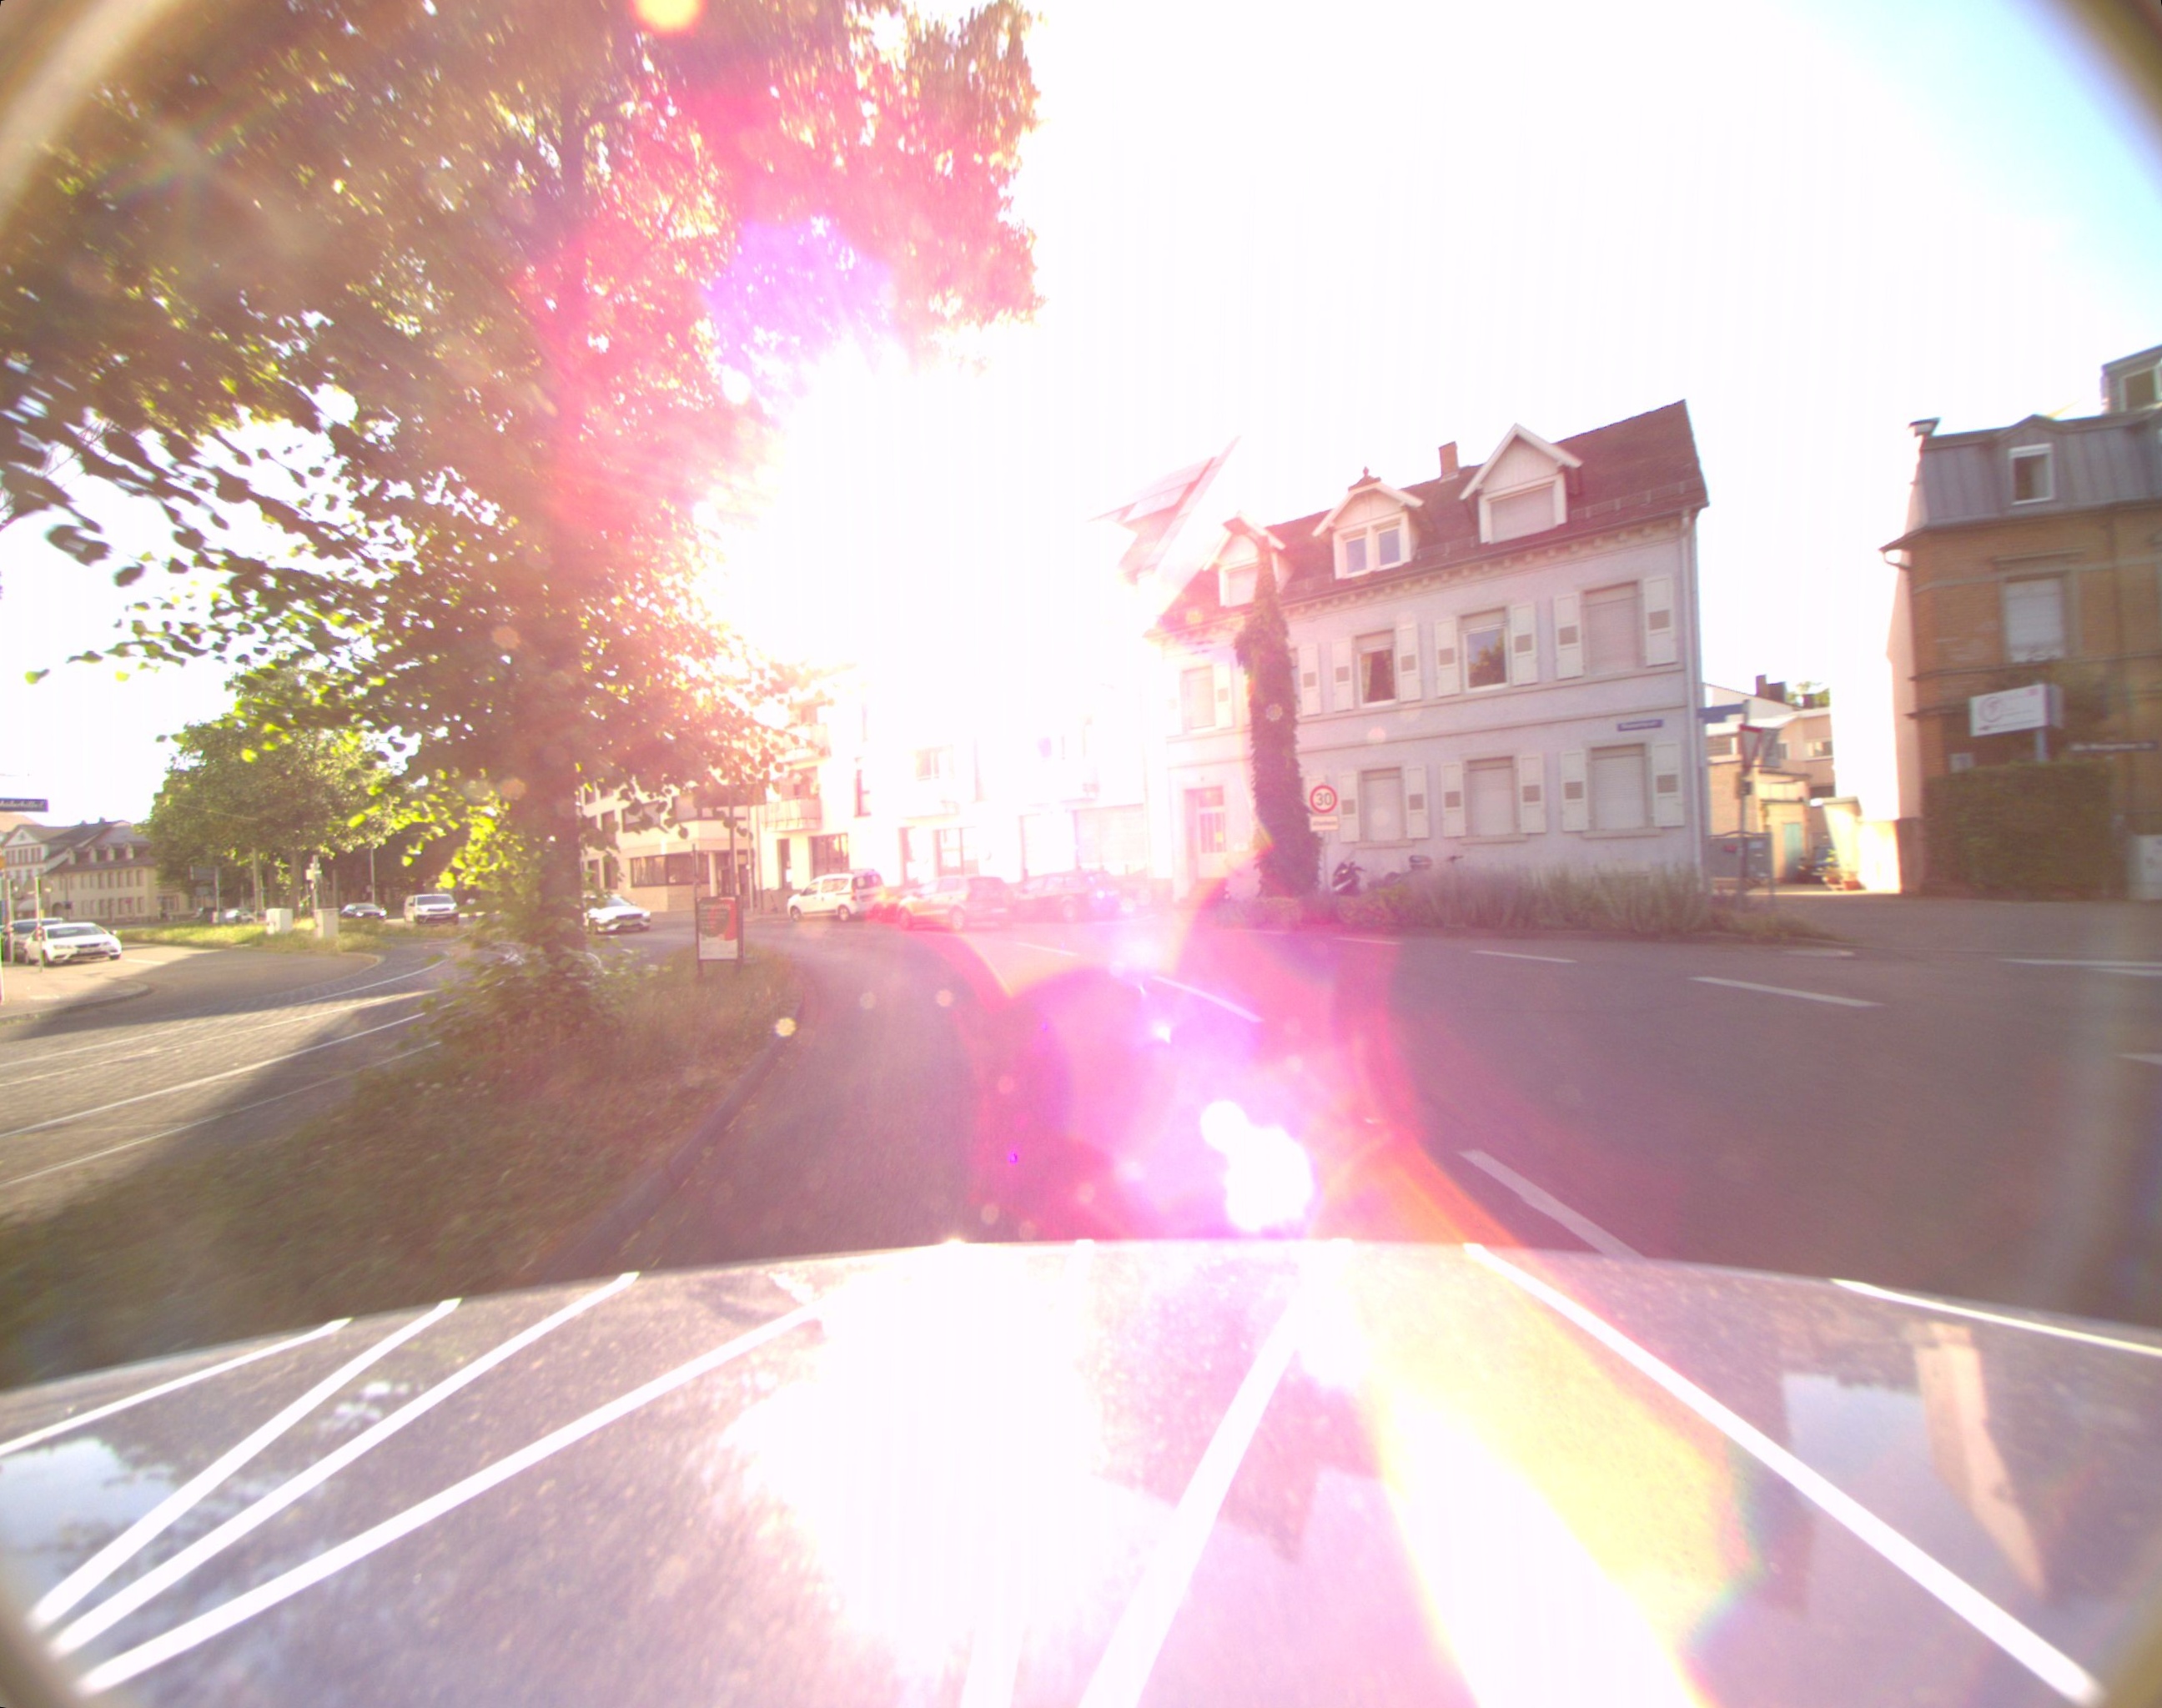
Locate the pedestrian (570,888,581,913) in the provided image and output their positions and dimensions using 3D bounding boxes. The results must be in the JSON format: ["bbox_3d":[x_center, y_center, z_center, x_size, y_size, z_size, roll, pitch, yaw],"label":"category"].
[{"bbox_3d":[-34.026,3.134,51.127,0.476,1.638,0.601,-4,0,-37],"label":"pedestrian"}]

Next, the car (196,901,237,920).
[{"bbox_3d":[-90.282,5.919,79.319,3.990,1.783,2.003,-3,1,30],"label":"car"}]

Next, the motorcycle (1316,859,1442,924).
[{"bbox_3d":[6.783,0.857,17.298,2.558,1.350,0.935,-3,1,25],"label":"motorcycle"}]

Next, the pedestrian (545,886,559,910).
[{"bbox_3d":[-40.312,3.349,57.894,0.990,1.838,0.608,-2,2,43],"label":"pedestrian"}]

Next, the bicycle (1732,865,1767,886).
[{"bbox_3d":[28.138,0.895,31.982,2.300,0.749,0.862,-3,0,-43],"label":"bicycle"}]

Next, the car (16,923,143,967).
[{"bbox_3d":[-37.341,3.381,28.317,4.436,1.378,2.004,-4,-1,26],"label":"car"}]

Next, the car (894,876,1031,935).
[{"bbox_3d":[-3.223,1.350,20.256,1.722,1.394,3.728,0,-2,-45],"label":"car"}]

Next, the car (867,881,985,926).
[{"bbox_3d":[-5.285,1.652,25.711,4.015,1.266,1.672,-2,2,39],"label":"car"}]

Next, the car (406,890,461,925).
[{"bbox_3d":[-38.018,3.114,44.545,2.004,1.843,4.890,-2,-1,-45],"label":"car"}]

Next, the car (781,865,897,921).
[{"bbox_3d":[-9.333,1.489,29.175,4.321,1.859,1.819,-3,2,34],"label":"car"}]

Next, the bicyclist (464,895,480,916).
[{"bbox_3d":[-40.731,3.444,50.839,0.799,1.372,0.626,-2,0,37],"label":"bicyclist"}]

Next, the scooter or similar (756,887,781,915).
[{"bbox_3d":[-14.436,2.169,35.086,1.152,1.213,0.225,-4,1,22],"label":"scooter or similar"}]

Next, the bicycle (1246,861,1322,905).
[{"bbox_3d":[5.531,0.789,20.692,1.866,1.103,0.579,-3,1,27],"label":"bicycle"}]

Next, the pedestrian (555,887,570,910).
[{"bbox_3d":[-39.832,3.403,58.364,0.840,1.704,0.706,-2,2,43],"label":"pedestrian"}]

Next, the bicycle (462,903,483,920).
[{"bbox_3d":[-40.676,3.835,50.810,1.779,1.075,0.626,-2,0,37],"label":"bicycle"}]

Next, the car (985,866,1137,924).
[{"bbox_3d":[-0.696,1.232,22.682,4.580,1.458,1.717,-4,1,44],"label":"car"}]

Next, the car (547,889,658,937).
[{"bbox_3d":[-17.996,2.154,28.502,4.759,1.456,1.857,-2,3,37],"label":"car"}]

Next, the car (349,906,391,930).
[{"bbox_3d":[-54.577,4.871,58.302,3.989,1.607,1.719,-3,0,39],"label":"car"}]
